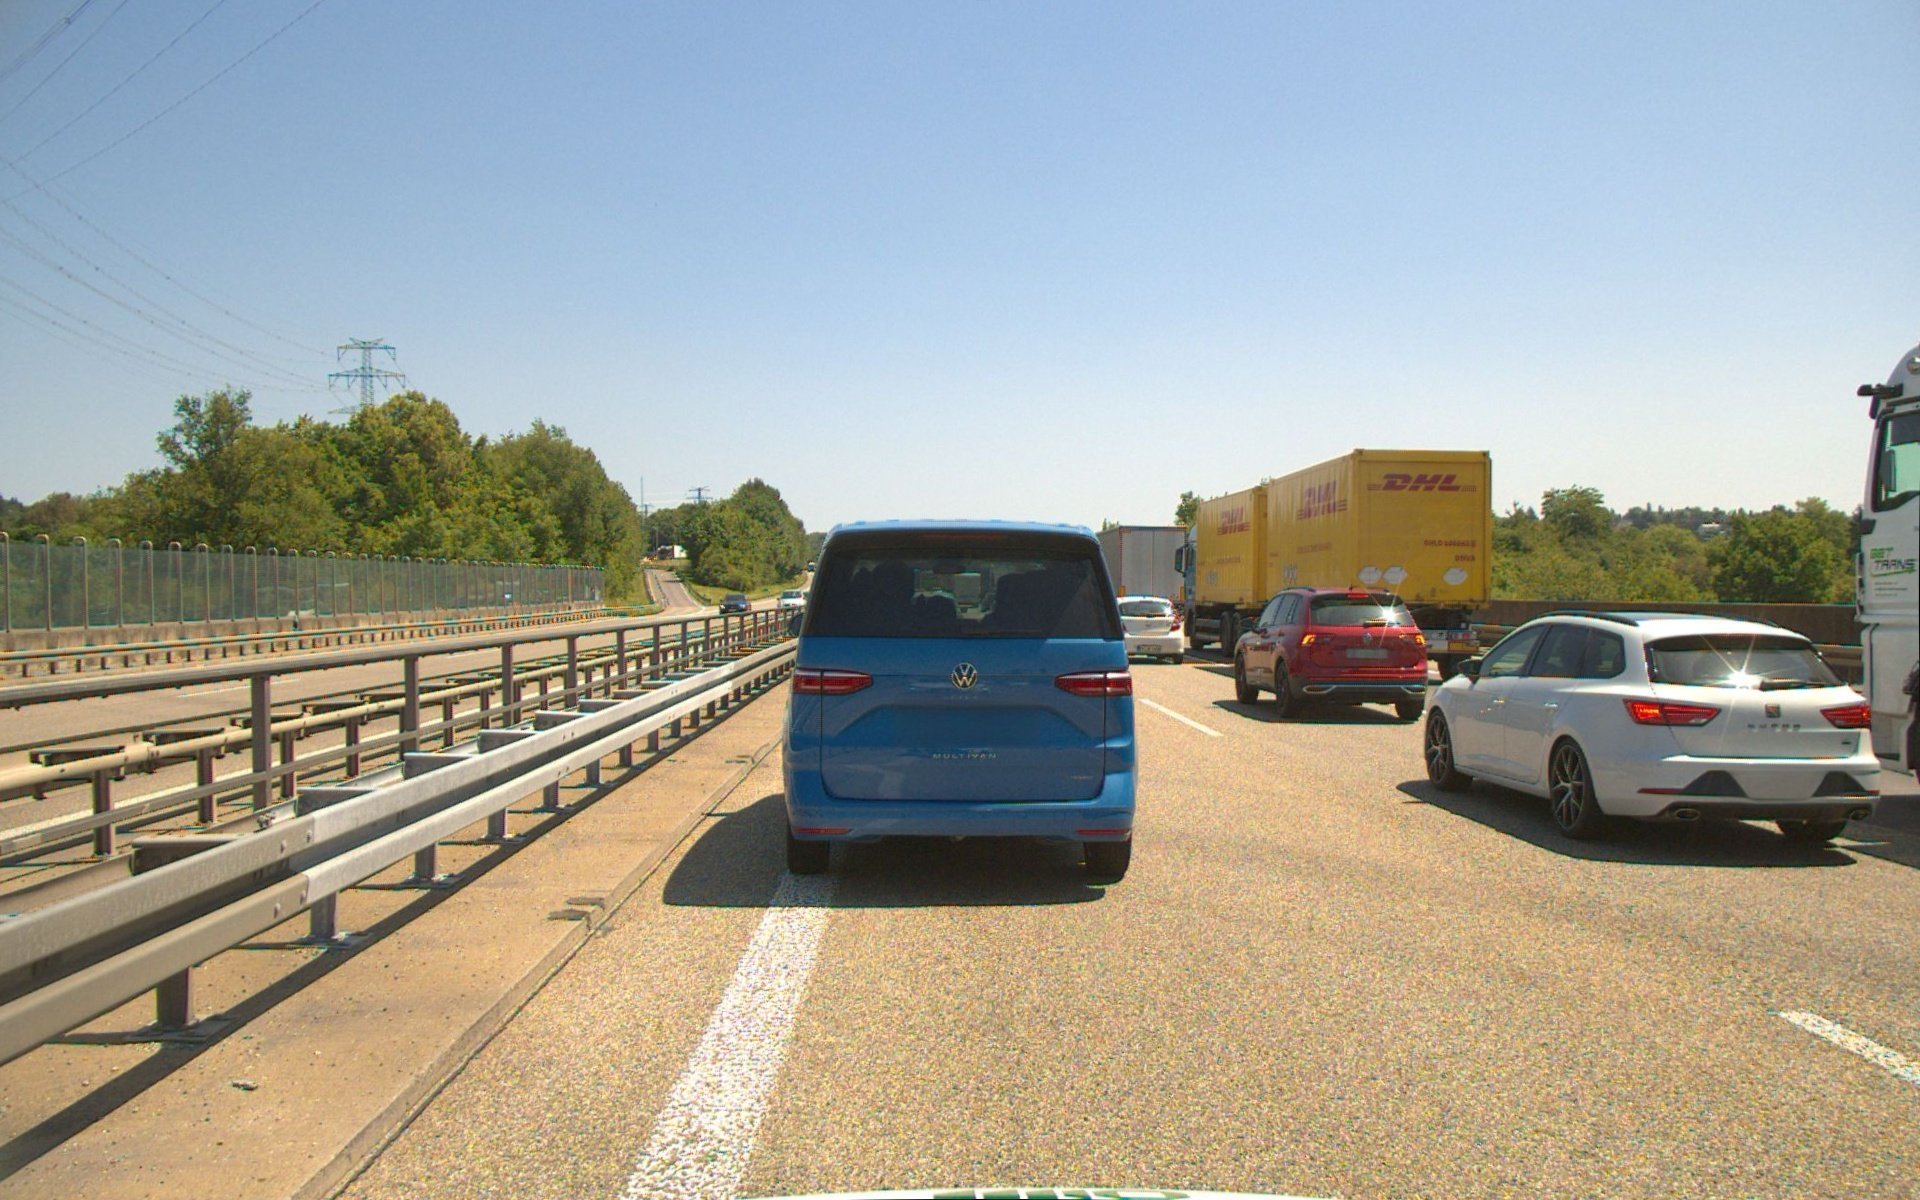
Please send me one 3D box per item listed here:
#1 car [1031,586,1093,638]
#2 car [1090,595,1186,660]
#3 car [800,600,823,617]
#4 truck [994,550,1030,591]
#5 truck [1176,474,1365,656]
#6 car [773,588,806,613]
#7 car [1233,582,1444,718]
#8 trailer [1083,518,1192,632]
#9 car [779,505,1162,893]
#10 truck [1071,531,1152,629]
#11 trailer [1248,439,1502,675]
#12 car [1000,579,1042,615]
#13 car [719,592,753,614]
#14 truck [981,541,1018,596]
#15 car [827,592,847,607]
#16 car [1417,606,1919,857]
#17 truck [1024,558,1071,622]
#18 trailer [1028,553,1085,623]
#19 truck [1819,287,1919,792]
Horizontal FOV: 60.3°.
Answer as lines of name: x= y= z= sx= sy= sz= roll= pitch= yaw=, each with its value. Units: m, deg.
car: x=3.281 y=0.419 z=53.582 sx=1.680 sy=1.614 sz=3.819 roll=0 pitch=-1 yaw=-1
car: x=4.106 y=0.611 z=38.631 sx=1.801 sy=1.438 sz=4.000 roll=0 pitch=0 yaw=0
car: x=-12.014 y=0.663 z=133.921 sx=1.551 sy=1.321 sz=3.890 roll=-1 pitch=0 yaw=-2
truck: x=4.468 y=-2.536 z=144.354 sx=2.308 sy=3.275 sz=9.735 roll=1 pitch=0 yaw=-3
truck: x=7.816 y=-0.775 z=43.165 sx=2.667 sy=4.125 sz=10.332 roll=1 pitch=0 yaw=-2
car: x=-11.034 y=0.040 z=107.277 sx=1.803 sy=1.556 sz=3.557 roll=-1 pitch=0 yaw=-1
car: x=4.907 y=0.595 z=22.013 sx=1.813 sy=1.636 sz=3.999 roll=0 pitch=0 yaw=-1
trailer: x=7.020 y=-0.899 z=67.120 sx=2.700 sy=4.219 sz=11.306 roll=1 pitch=0 yaw=-3
car: x=0.013 y=0.475 z=10.001 sx=1.844 sy=1.869 sz=3.999 roll=0 pitch=0 yaw=-1
truck: x=6.740 y=-0.864 z=74.531 sx=2.713 sy=4.167 sz=6.981 roll=1 pitch=0 yaw=-2
trailer: x=8.072 y=-0.725 z=33.527 sx=2.647 sy=4.094 sz=8.927 roll=1 pitch=0 yaw=-2
car: x=2.730 y=-0.144 z=74.679 sx=1.680 sy=1.567 sz=3.820 roll=-1 pitch=0 yaw=-1
car: x=-14.799 y=0.191 z=109.343 sx=1.764 sy=1.410 sz=4.262 roll=1 pitch=0 yaw=-1
truck: x=3.838 y=-3.058 z=163.914 sx=2.777 sy=5.128 sz=11.139 roll=1 pitch=0 yaw=-3
car: x=-12.360 y=-0.070 z=166.469 sx=1.805 sy=1.472 sz=4.417 roll=1 pitch=0 yaw=-1
car: x=4.727 y=0.766 z=11.619 sx=1.745 sy=1.411 sz=4.186 roll=0 pitch=0 yaw=-2
truck: x=5.409 y=-0.578 z=102.886 sx=2.320 sy=3.787 sz=6.031 roll=1 pitch=0 yaw=-2
trailer: x=5.584 y=-0.627 z=97.254 sx=2.331 sy=3.809 sz=11.184 roll=1 pitch=0 yaw=-2
truck: x=8.497 y=-0.370 z=7.940 sx=2.793 sy=3.665 sz=10.765 roll=1 pitch=1 yaw=-2
